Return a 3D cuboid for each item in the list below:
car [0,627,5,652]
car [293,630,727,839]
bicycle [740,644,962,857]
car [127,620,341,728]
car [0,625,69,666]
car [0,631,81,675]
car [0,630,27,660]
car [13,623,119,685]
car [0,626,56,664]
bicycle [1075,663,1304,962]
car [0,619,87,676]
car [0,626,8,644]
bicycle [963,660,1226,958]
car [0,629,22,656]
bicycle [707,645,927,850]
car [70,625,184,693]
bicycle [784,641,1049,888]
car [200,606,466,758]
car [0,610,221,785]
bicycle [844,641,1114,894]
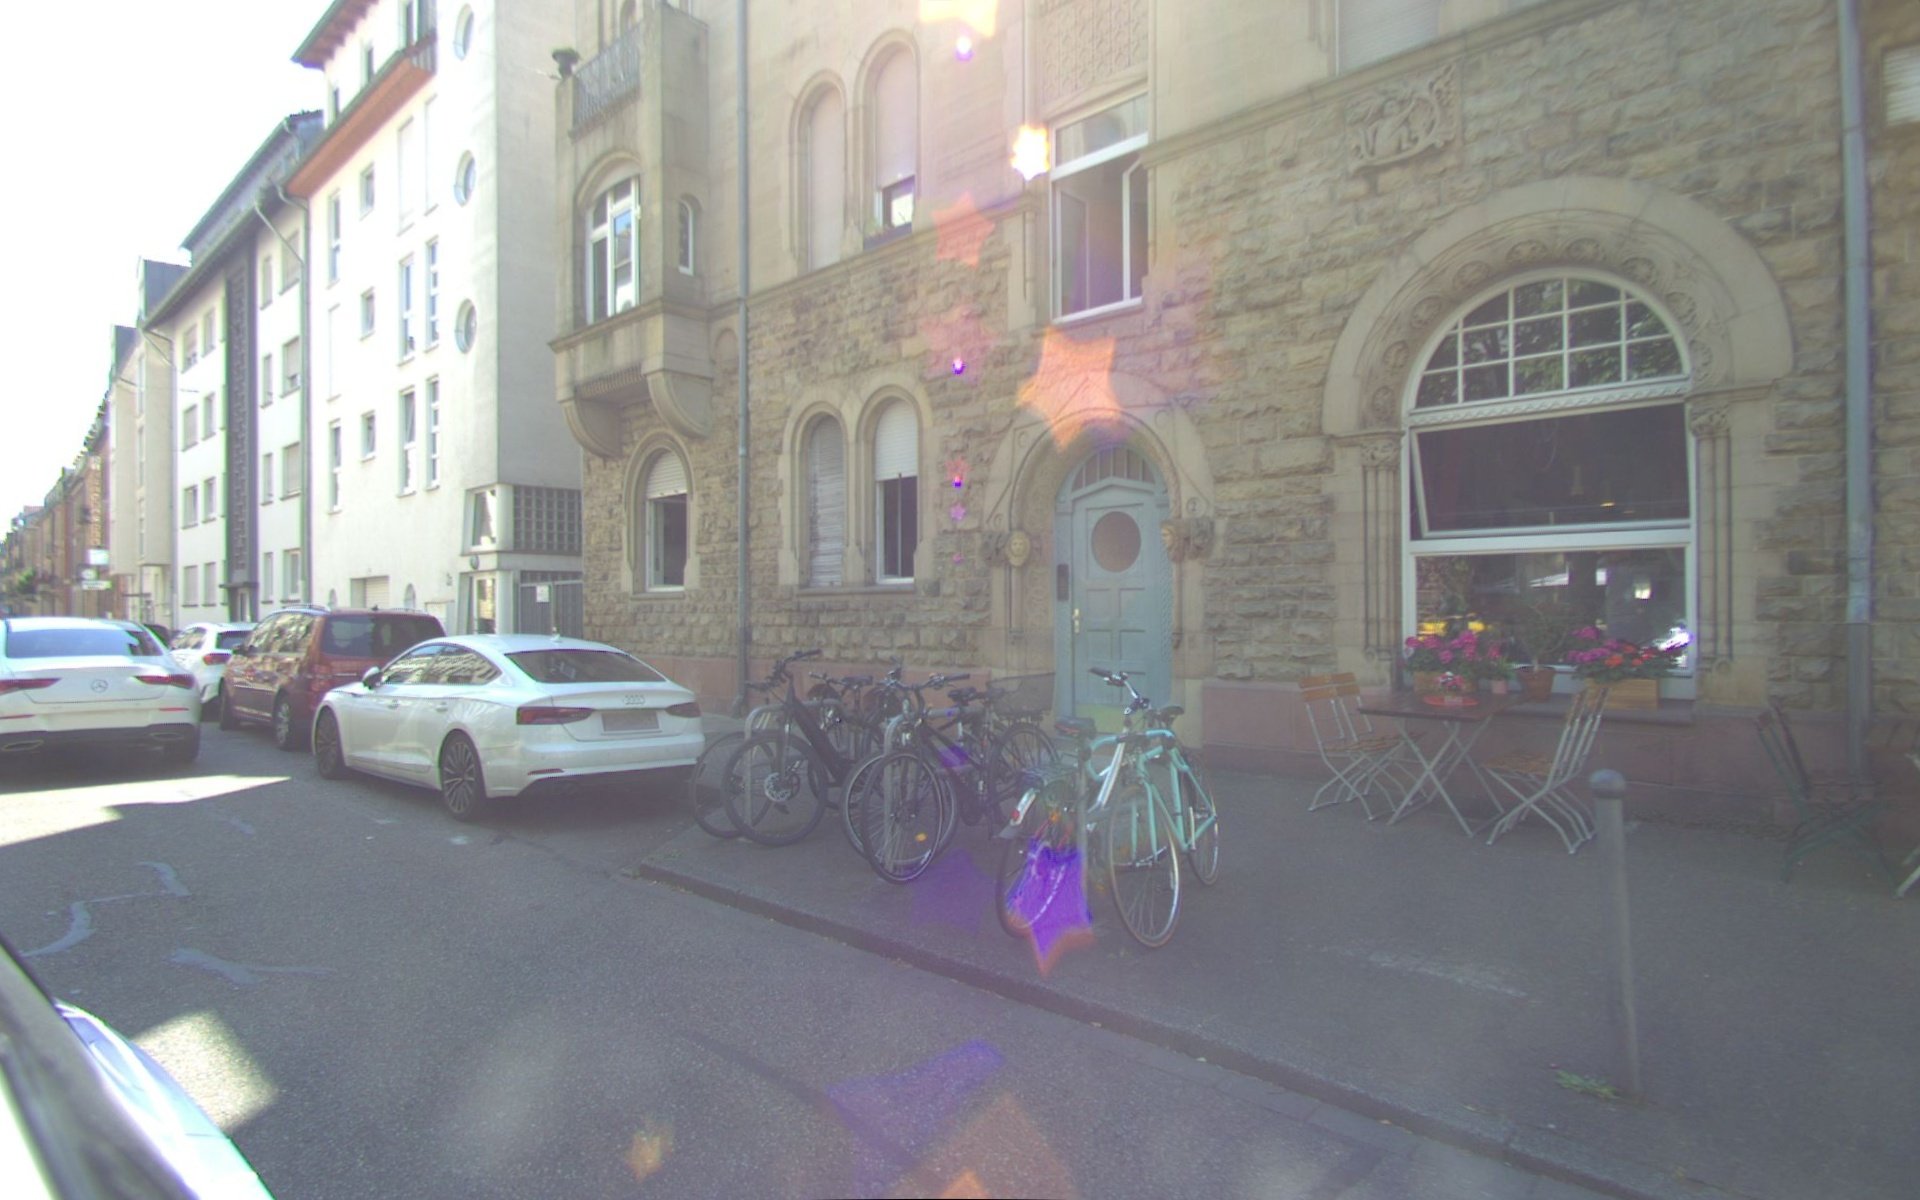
[{"bbox_3d":[-64.213,2.560,66.783,3.526,1.655,1.430,-1,-6,43],"label":"car"},{"bbox_3d":[-4.132,0.987,8.912,4.512,1.363,1.684,-1,-3,41],"label":"car"},{"bbox_3d":[-0.638,0.889,6.492,0.292,1.108,1.686,-1,1,38],"label":"bicycle"},{"bbox_3d":[-11.516,1.088,15.947,4.277,1.471,1.758,-1,-3,41],"label":"car"},{"bbox_3d":[-36.669,1.767,39.958,4.348,1.506,1.711,-1,-4,43],"label":"car"},{"bbox_3d":[-32.051,1.834,35.173,4.348,1.404,1.745,-1,-4,43],"label":"car"},{"bbox_3d":[-49.458,2.274,52.178,1.757,1.440,3.839,7,-6,-45],"label":"car"},{"bbox_3d":[-24.423,1.435,27.582,4.671,1.530,1.638,-1,-4,43],"label":"car"},{"bbox_3d":[-41.631,1.978,44.925,3.851,1.561,1.612,-1,-5,40],"label":"car"},{"bbox_3d":[1.087,0.853,4.555,0.367,1.015,1.510,-1,1,38],"label":"bicycle"},{"bbox_3d":[-28.422,1.447,31.361,3.977,1.657,1.586,-1,-4,43],"label":"car"},{"bbox_3d":[-79.823,2.866,81.909,1.679,1.441,3.941,-1,-2,45],"label":"car"},{"bbox_3d":[0.709,0.877,4.812,0.413,1.053,1.688,-1,1,38],"label":"bicycle"},{"bbox_3d":[-53.180,2.327,56.013,1.610,1.440,3.680,7,-6,-45],"label":"car"},{"bbox_3d":[-0.883,0.899,6.684,0.292,1.108,1.686,-1,0,38],"label":"bicycle"},{"bbox_3d":[-20.036,1.370,24.292,3.893,1.503,1.550,-1,-4,43],"label":"car"},{"bbox_3d":[-0.177,0.891,6.143,0.394,1.138,1.953,-1,2,38],"label":"bicycle"},{"bbox_3d":[-7.896,0.924,12.600,4.051,1.595,1.655,-1,-4,41],"label":"car"},{"bbox_3d":[-9.269,0.877,10.417,4.362,1.472,1.821,-1,-4,43],"label":"car"},{"bbox_3d":[0.194,0.852,5.851,0.435,1.138,1.976,-1,0,38],"label":"bicycle"}]
